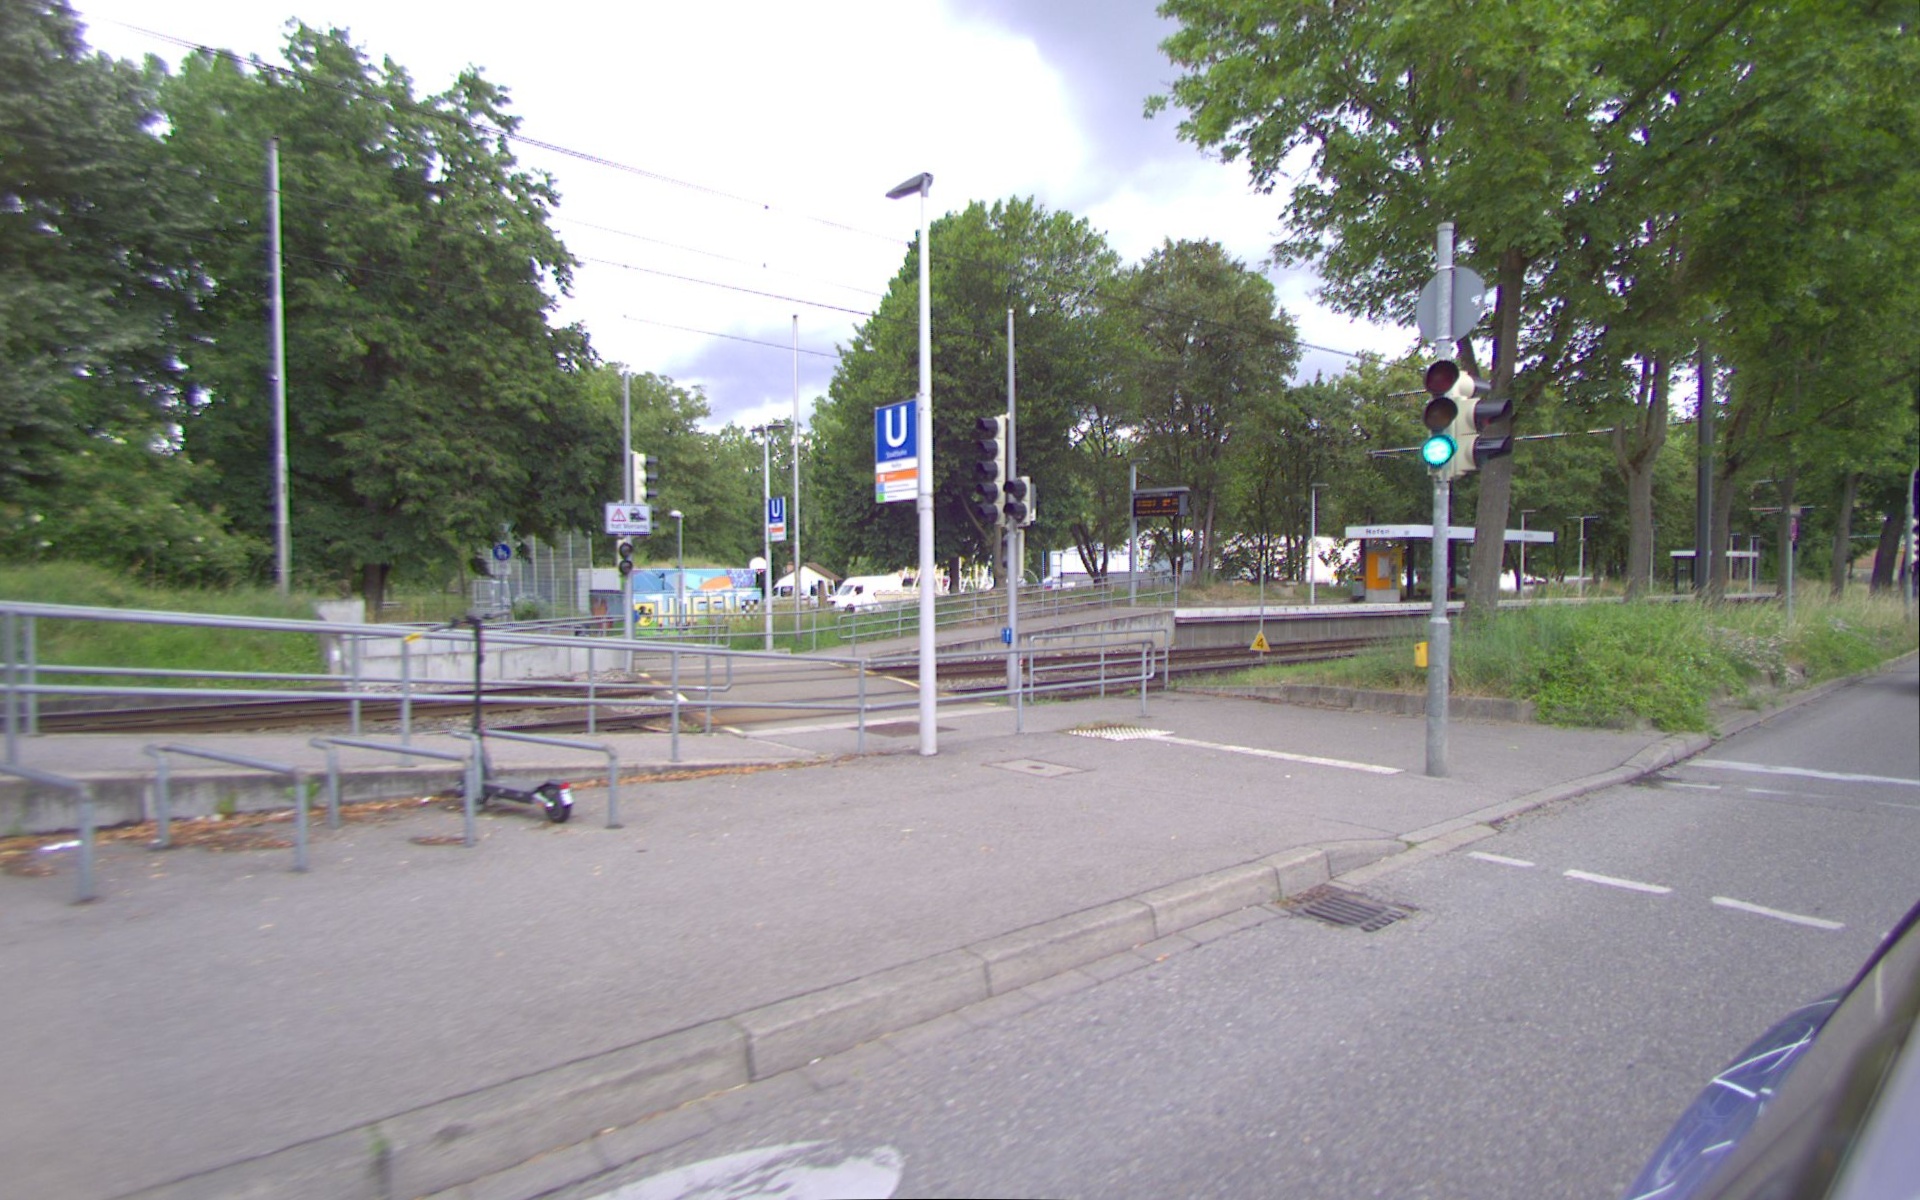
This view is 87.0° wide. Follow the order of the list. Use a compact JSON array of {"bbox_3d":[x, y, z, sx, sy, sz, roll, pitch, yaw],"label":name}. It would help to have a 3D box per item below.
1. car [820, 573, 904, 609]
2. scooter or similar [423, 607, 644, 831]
[{"bbox_3d":[-6.775,-0.626,70.300,5.705,2.413,1.997,0,0,-41],"label":"car"},{"bbox_3d":[-2.653,0.673,6.264,1.445,1.258,0.480,0,0,29],"label":"scooter or similar"}]
